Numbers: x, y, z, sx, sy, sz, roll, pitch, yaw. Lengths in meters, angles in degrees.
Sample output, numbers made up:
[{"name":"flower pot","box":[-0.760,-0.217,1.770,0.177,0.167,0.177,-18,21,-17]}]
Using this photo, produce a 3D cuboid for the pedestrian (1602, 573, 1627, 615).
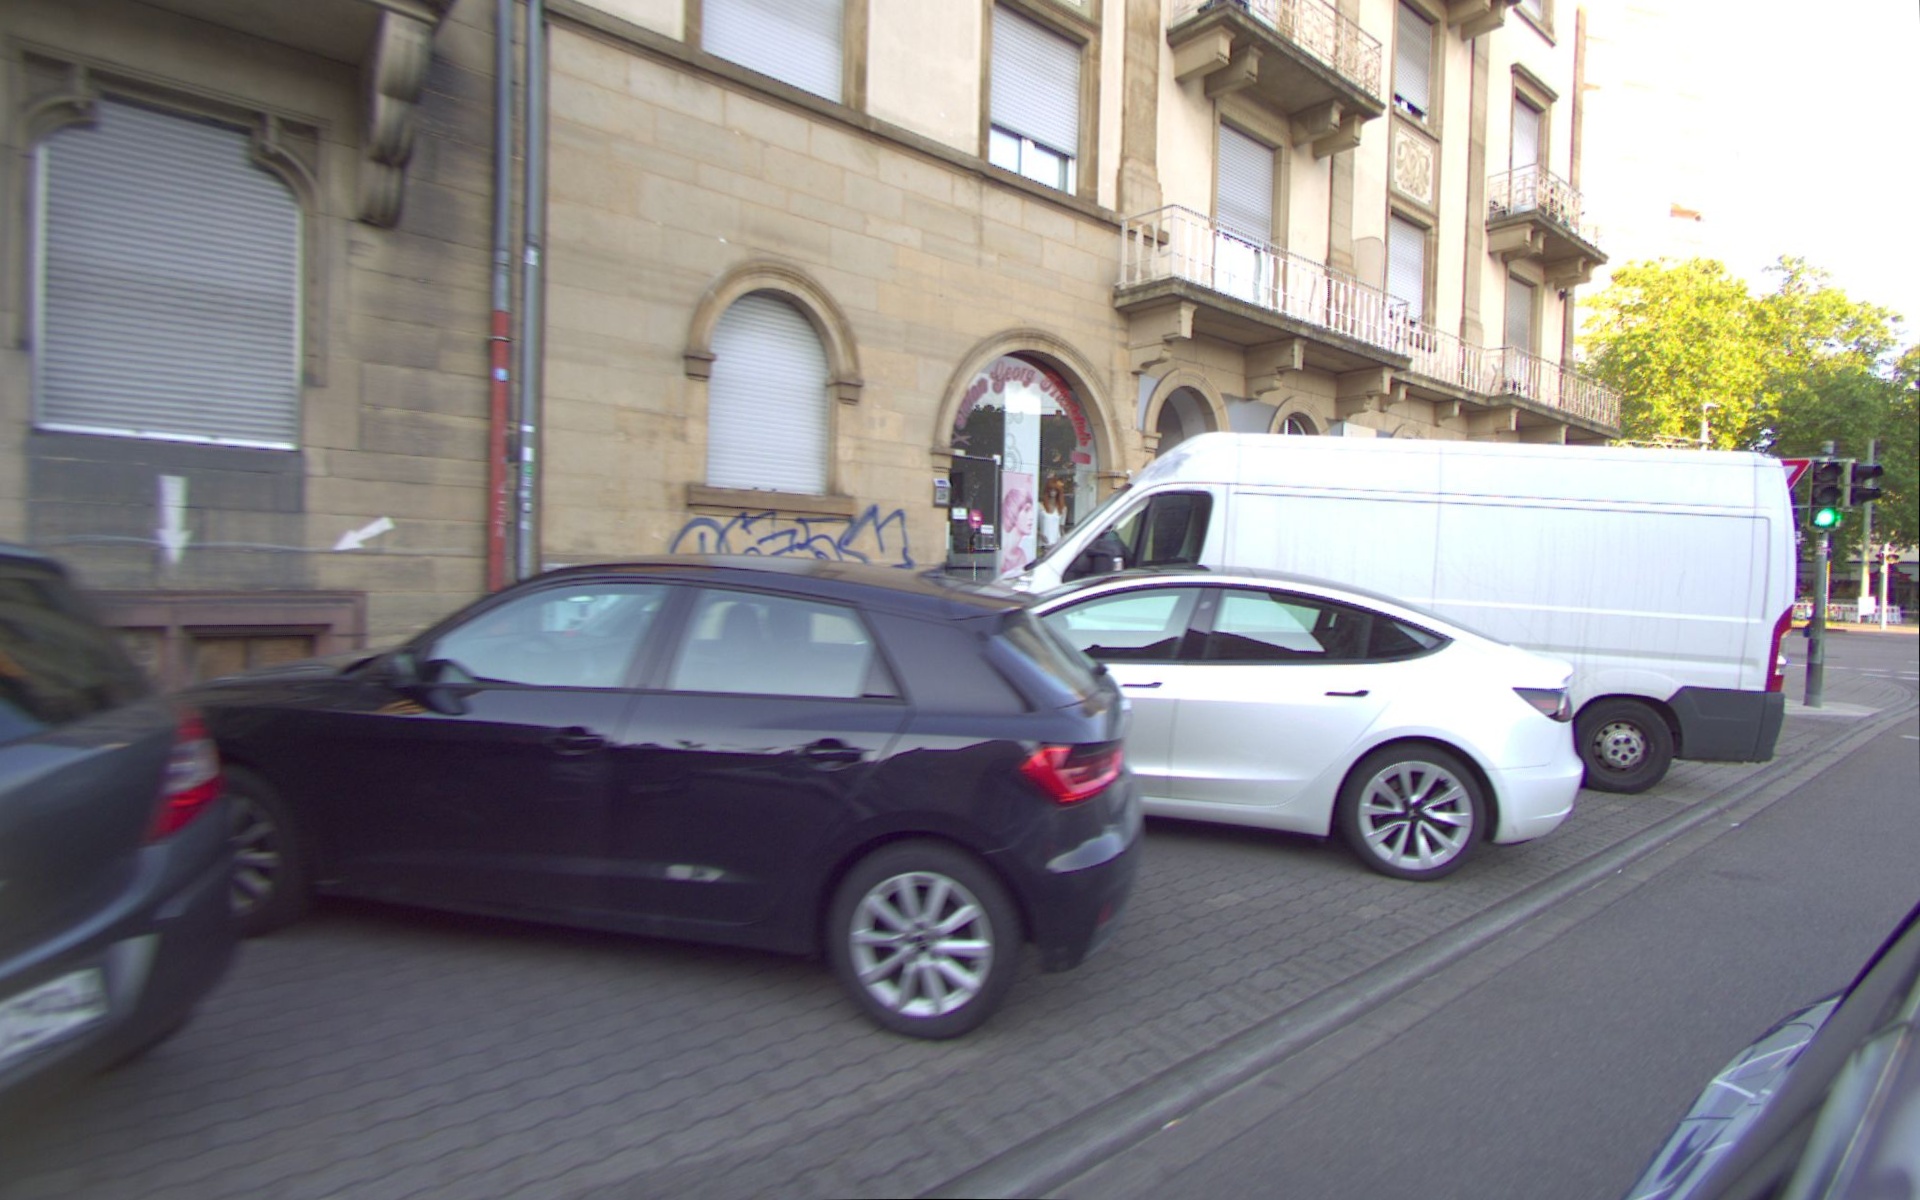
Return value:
[{"name":"pedestrian","box":[26.545,-0.249,41.034,0.652,1.677,0.540,2,1,16]}]

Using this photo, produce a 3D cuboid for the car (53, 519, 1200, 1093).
[{"name":"car","box":[-1.102,0.493,4.092,3.854,1.463,1.871,3,4,11]}]

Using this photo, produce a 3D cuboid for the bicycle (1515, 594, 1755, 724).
[{"name":"bicycle","box":[7.107,0.573,10.745,1.996,1.100,0.533,7,4,42]}]

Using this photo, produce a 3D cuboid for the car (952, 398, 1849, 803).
[{"name":"car","box":[2.998,-0.154,8.159,5.789,2.581,2.192,3,4,10]}]

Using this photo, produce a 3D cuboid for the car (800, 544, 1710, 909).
[{"name":"car","box":[1.412,0.494,5.890,4.189,1.470,1.994,3,3,12]}]

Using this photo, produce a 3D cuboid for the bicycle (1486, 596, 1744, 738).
[{"name":"bicycle","box":[6.354,0.599,9.916,1.996,1.100,0.533,7,4,42]}]

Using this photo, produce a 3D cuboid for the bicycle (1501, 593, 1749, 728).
[{"name":"bicycle","box":[6.725,0.565,10.330,1.996,1.100,0.533,7,4,42]}]

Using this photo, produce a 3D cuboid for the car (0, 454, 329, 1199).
[{"name":"car","box":[-3.704,0.412,2.161,3.852,1.563,1.714,3,4,9]}]
